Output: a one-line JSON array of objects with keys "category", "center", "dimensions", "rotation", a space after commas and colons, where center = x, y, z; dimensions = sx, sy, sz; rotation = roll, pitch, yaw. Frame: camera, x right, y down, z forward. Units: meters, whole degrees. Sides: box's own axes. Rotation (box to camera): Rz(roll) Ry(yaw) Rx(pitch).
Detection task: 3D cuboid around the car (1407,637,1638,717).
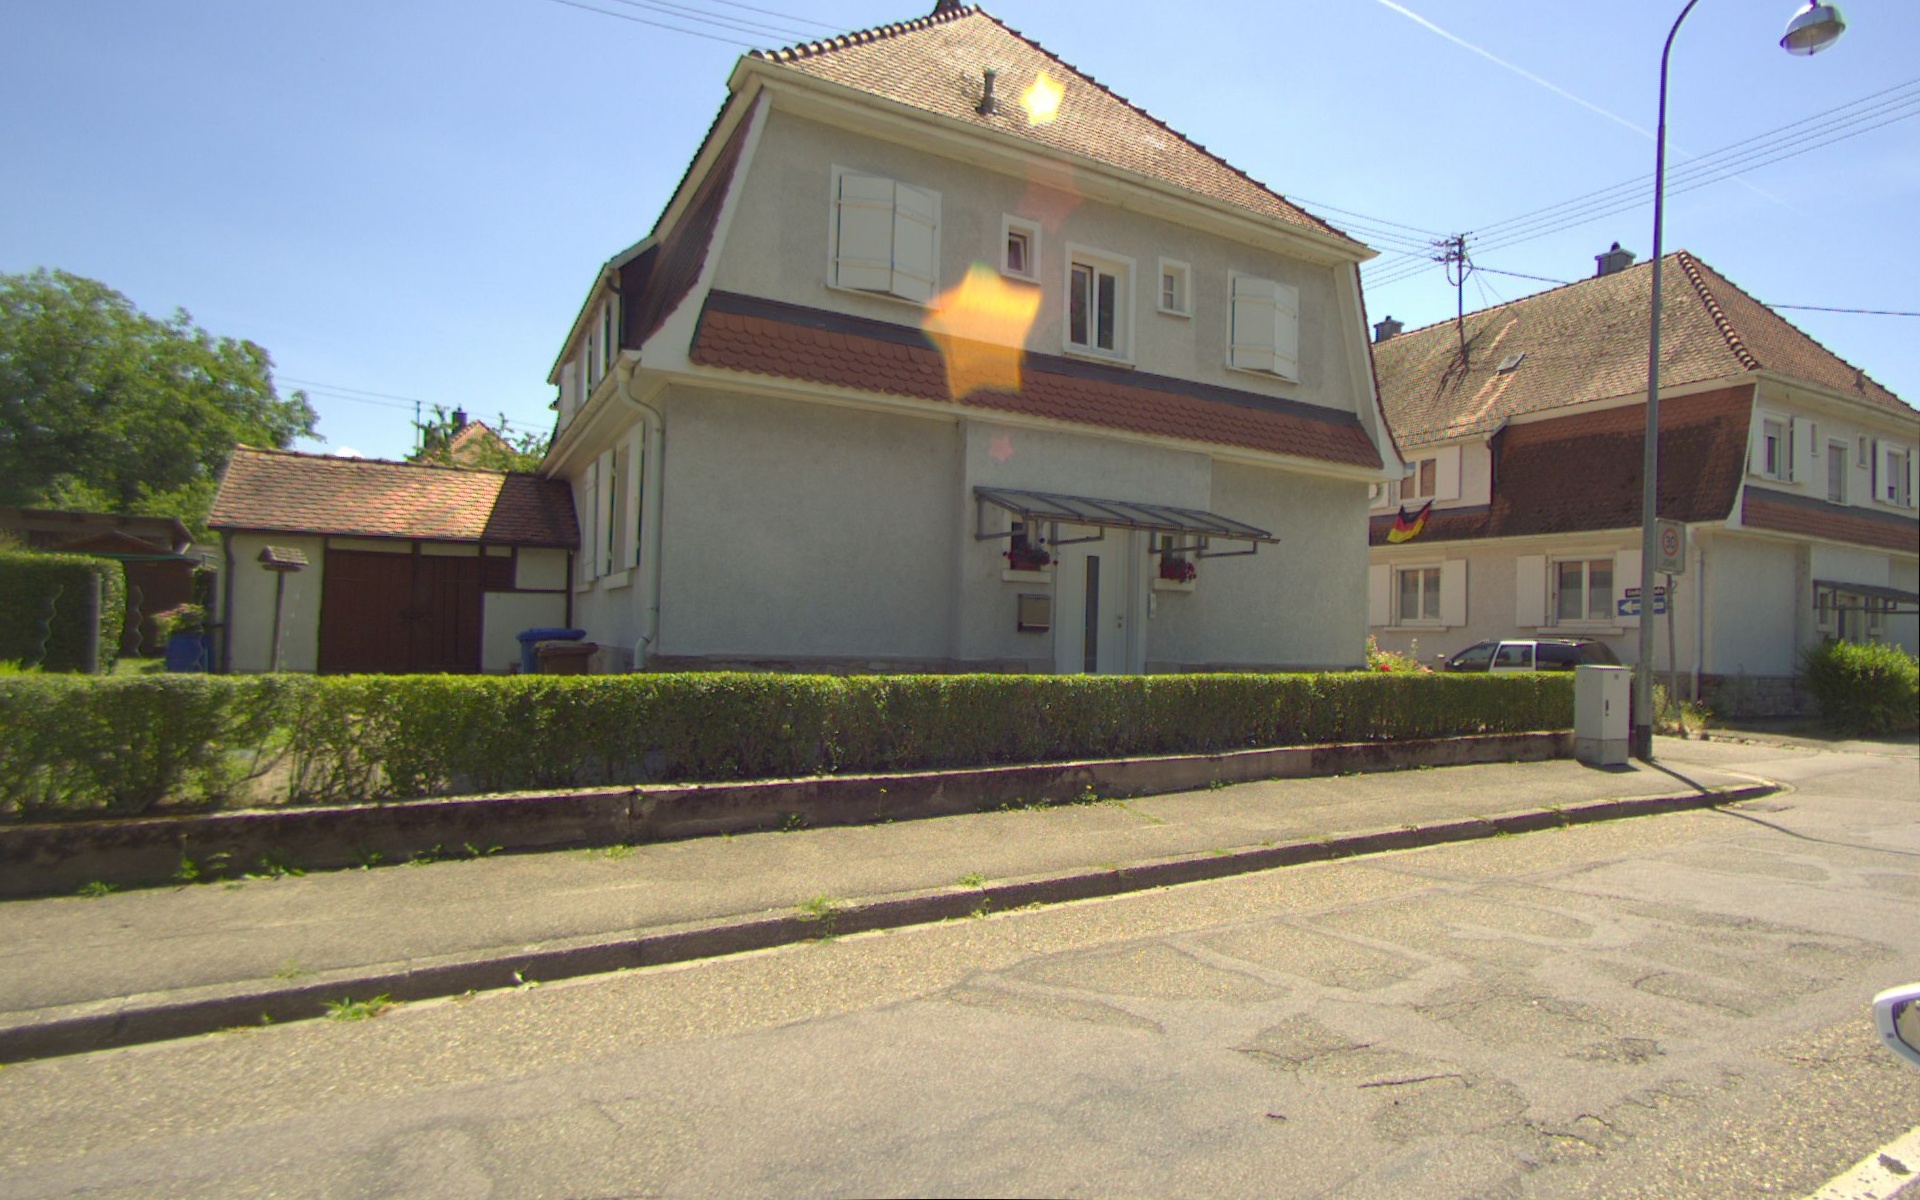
[{"category": "car", "center": [11.370, 1.497, 20.533], "dimensions": [1.755, 1.443, 3.770], "rotation": [1, -2, -32]}]
